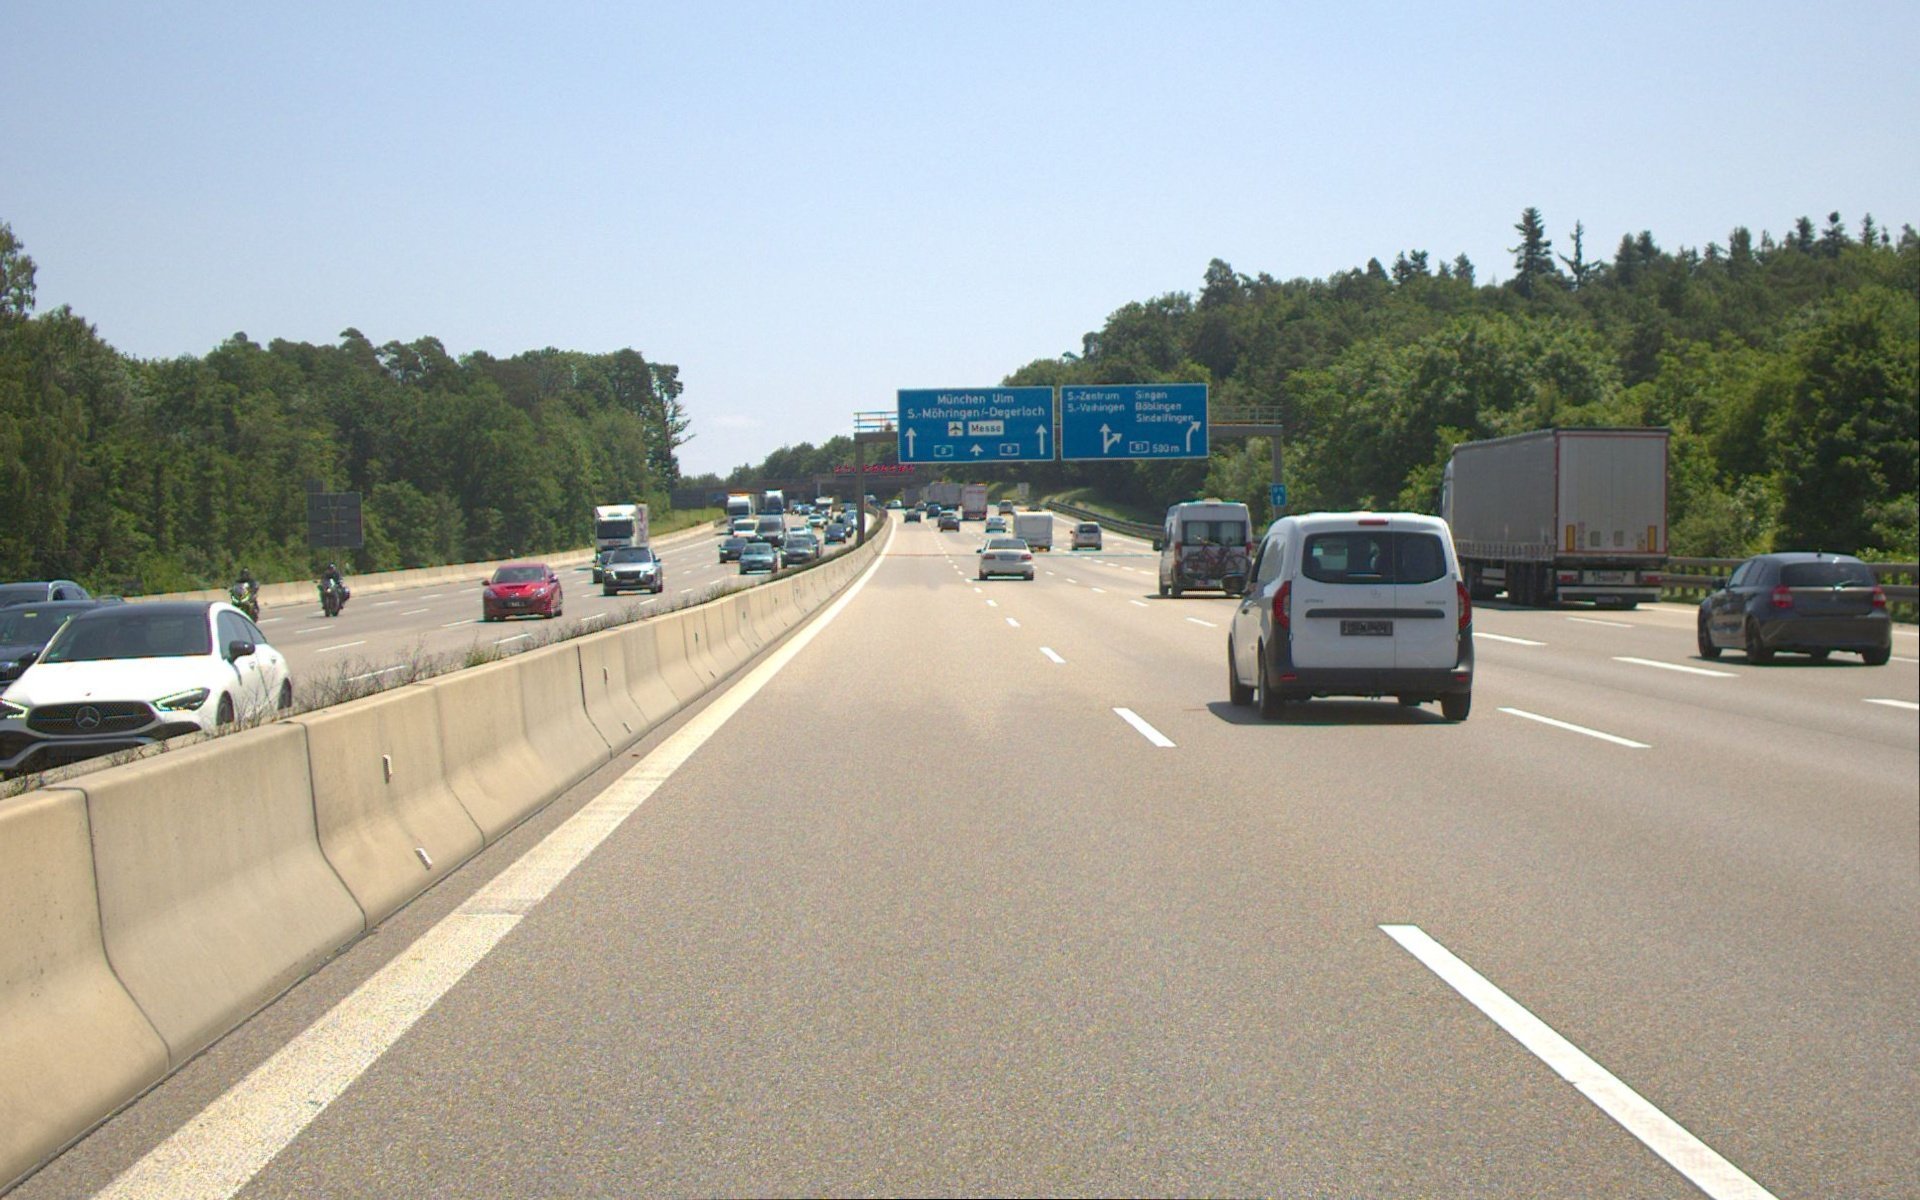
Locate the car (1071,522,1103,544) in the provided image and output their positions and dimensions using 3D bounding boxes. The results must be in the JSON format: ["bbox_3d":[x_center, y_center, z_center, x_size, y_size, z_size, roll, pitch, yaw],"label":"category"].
[{"bbox_3d":[8.097,-4.303,219.986,1.835,1.333,3.643,-2,1,-1],"label":"car"}]

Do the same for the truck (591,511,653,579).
[{"bbox_3d":[-20.397,-3.352,207.950,2.719,3.925,10.237,-1,1,-1],"label":"truck"}]

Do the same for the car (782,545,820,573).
[{"bbox_3d":[-8.141,-2.119,176.390,1.752,1.372,4.491,1,1,-1],"label":"car"}]

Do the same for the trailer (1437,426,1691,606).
[{"bbox_3d":[14.215,-2.040,82.368,3.287,3.917,13.892,1,2,-1],"label":"trailer"}]

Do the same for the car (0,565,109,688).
[{"bbox_3d":[-14.200,0.368,50.610,2.047,1.668,5.188,-2,1,0],"label":"car"}]

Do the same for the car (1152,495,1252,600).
[{"bbox_3d":[6.371,-1.386,91.059,2.143,2.643,5.710,-1,1,-1],"label":"car"}]

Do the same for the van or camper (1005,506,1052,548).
[{"bbox_3d":[4.286,-4.593,215.598,2.645,2.530,6.502,-1,1,-1],"label":"van or camper"}]

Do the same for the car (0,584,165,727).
[{"bbox_3d":[-10.296,0.594,38.759,1.702,1.422,4.614,-2,1,-2],"label":"car"}]

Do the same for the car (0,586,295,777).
[{"bbox_3d":[-6.926,0.629,29.190,1.824,1.389,4.465,-2,1,-2],"label":"car"}]

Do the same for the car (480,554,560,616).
[{"bbox_3d":[-11.471,-0.404,89.847,1.572,1.506,4.030,-2,1,-1],"label":"car"}]

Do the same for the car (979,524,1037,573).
[{"bbox_3d":[1.668,-1.788,120.473,1.843,1.623,4.554,-2,1,-1],"label":"car"}]

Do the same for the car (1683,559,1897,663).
[{"bbox_3d":[10.615,0.147,44.241,1.670,1.269,4.290,0,0,-1],"label":"car"}]

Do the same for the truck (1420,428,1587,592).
[{"bbox_3d":[14.033,-2.347,89.166,3.254,4.092,5.988,0,2,-1],"label":"truck"}]

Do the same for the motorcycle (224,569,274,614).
[{"bbox_3d":[-19.188,-0.242,92.789,0.777,1.137,2.756,-2,1,-1],"label":"motorcycle"}]

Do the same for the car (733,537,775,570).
[{"bbox_3d":[-9.741,-2.209,162.816,1.717,1.507,4.351,-2,1,-1],"label":"car"}]

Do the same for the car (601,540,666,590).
[{"bbox_3d":[-11.518,-1.247,121.412,1.970,1.718,4.509,1,1,-2],"label":"car"}]

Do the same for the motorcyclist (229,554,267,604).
[{"bbox_3d":[-19.202,-0.573,92.771,0.769,1.297,1.078,-2,1,-1],"label":"motorcyclist"}]

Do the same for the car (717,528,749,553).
[{"bbox_3d":[-13.672,-3.564,206.908,1.717,1.444,4.909,0,2,-1],"label":"car"}]

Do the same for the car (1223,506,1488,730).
[{"bbox_3d":[3.489,0.114,31.099,1.860,1.819,4.612,-2,1,1],"label":"car"}]

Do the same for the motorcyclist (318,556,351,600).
[{"bbox_3d":[-19.093,-0.677,104.960,0.760,1.297,1.078,-2,1,-1],"label":"motorcyclist"}]

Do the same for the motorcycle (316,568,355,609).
[{"bbox_3d":[-19.086,-0.348,105.058,0.738,1.210,2.350,-2,1,-1],"label":"motorcycle"}]
